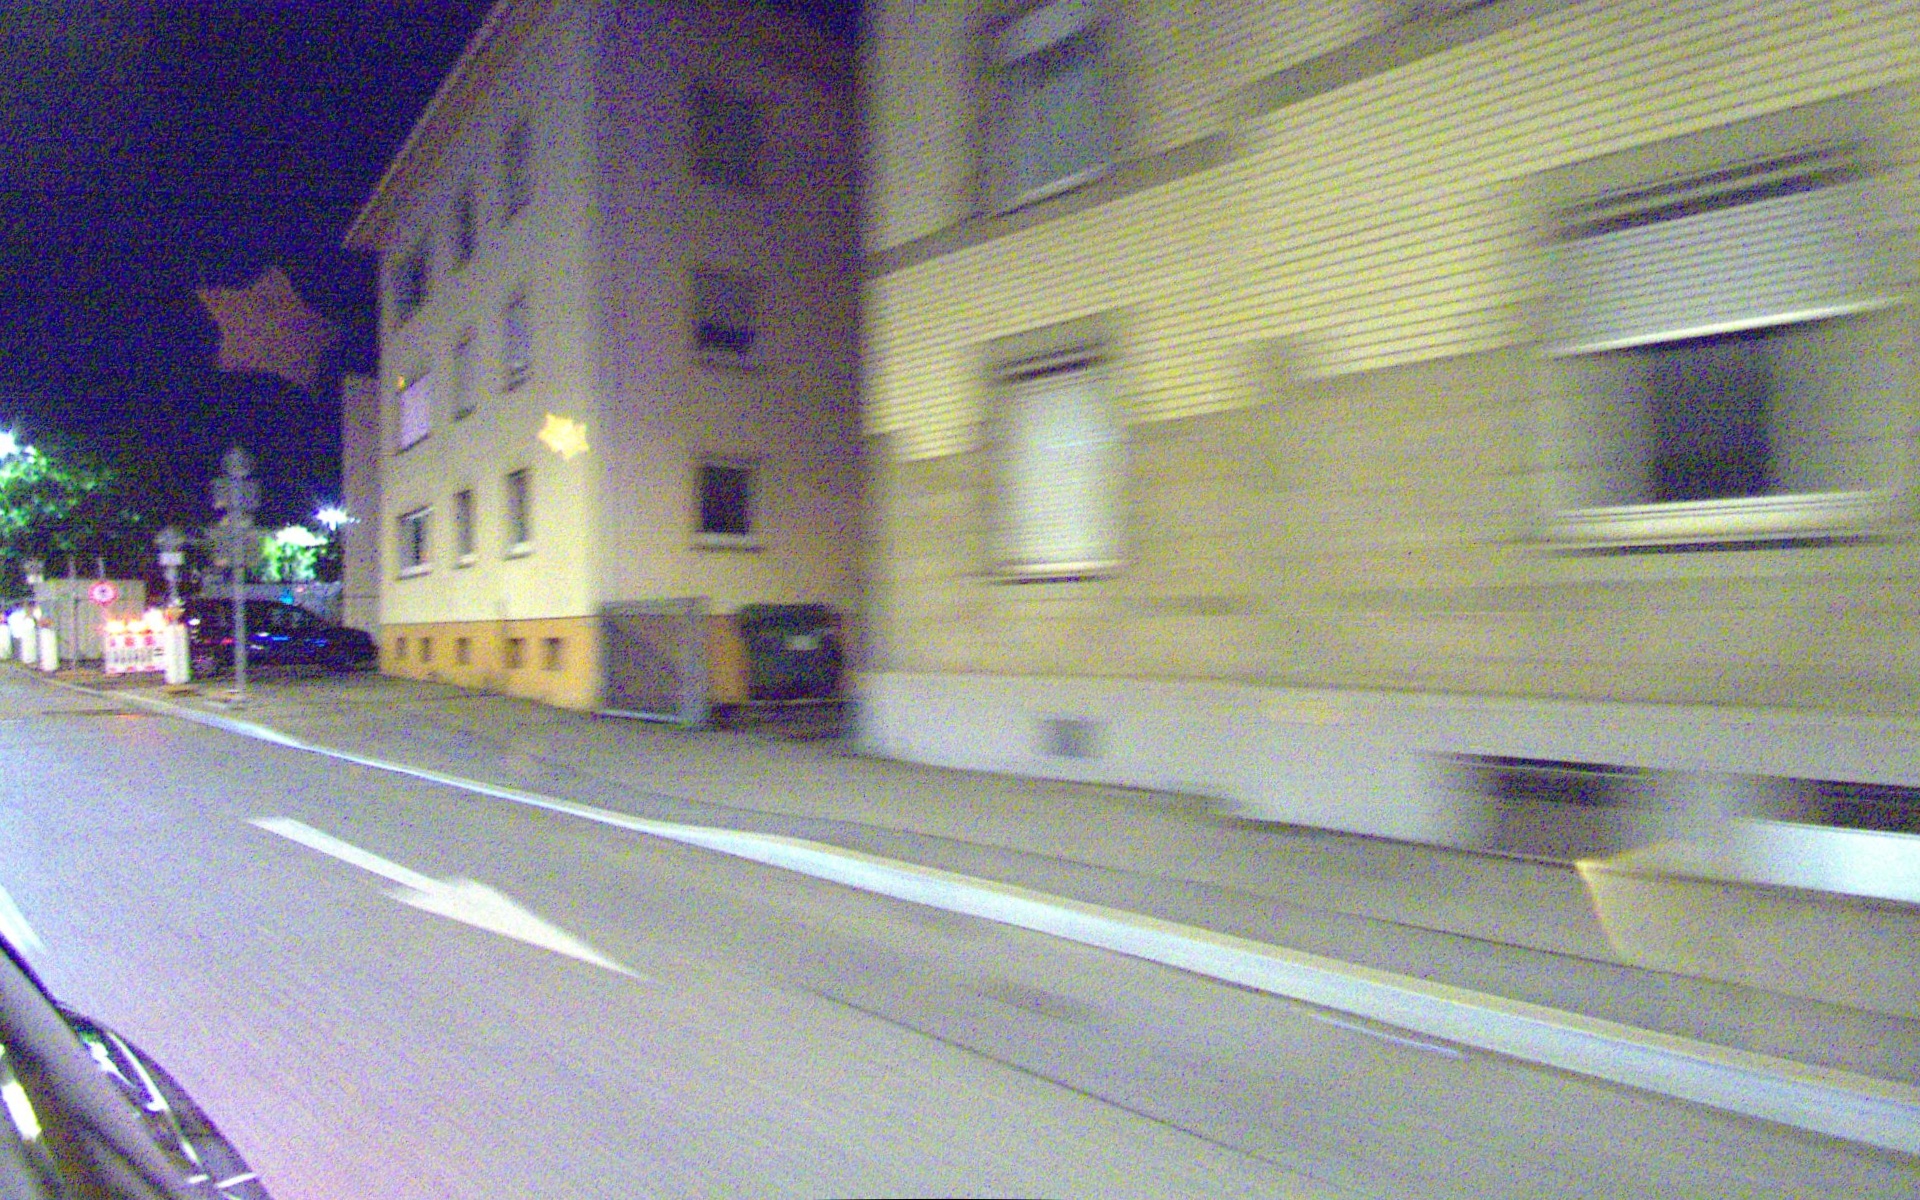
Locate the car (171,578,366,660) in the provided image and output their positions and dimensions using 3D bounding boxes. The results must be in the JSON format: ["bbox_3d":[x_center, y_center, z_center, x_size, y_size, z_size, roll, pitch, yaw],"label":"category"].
[{"bbox_3d":[-17.404,0.447,25.587,3.934,1.903,1.913,0,0,-36],"label":"car"}]

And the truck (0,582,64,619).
[{"bbox_3d":[-95.724,0.058,103.339,6.105,3.722,2.407,0,0,-37],"label":"truck"}]
